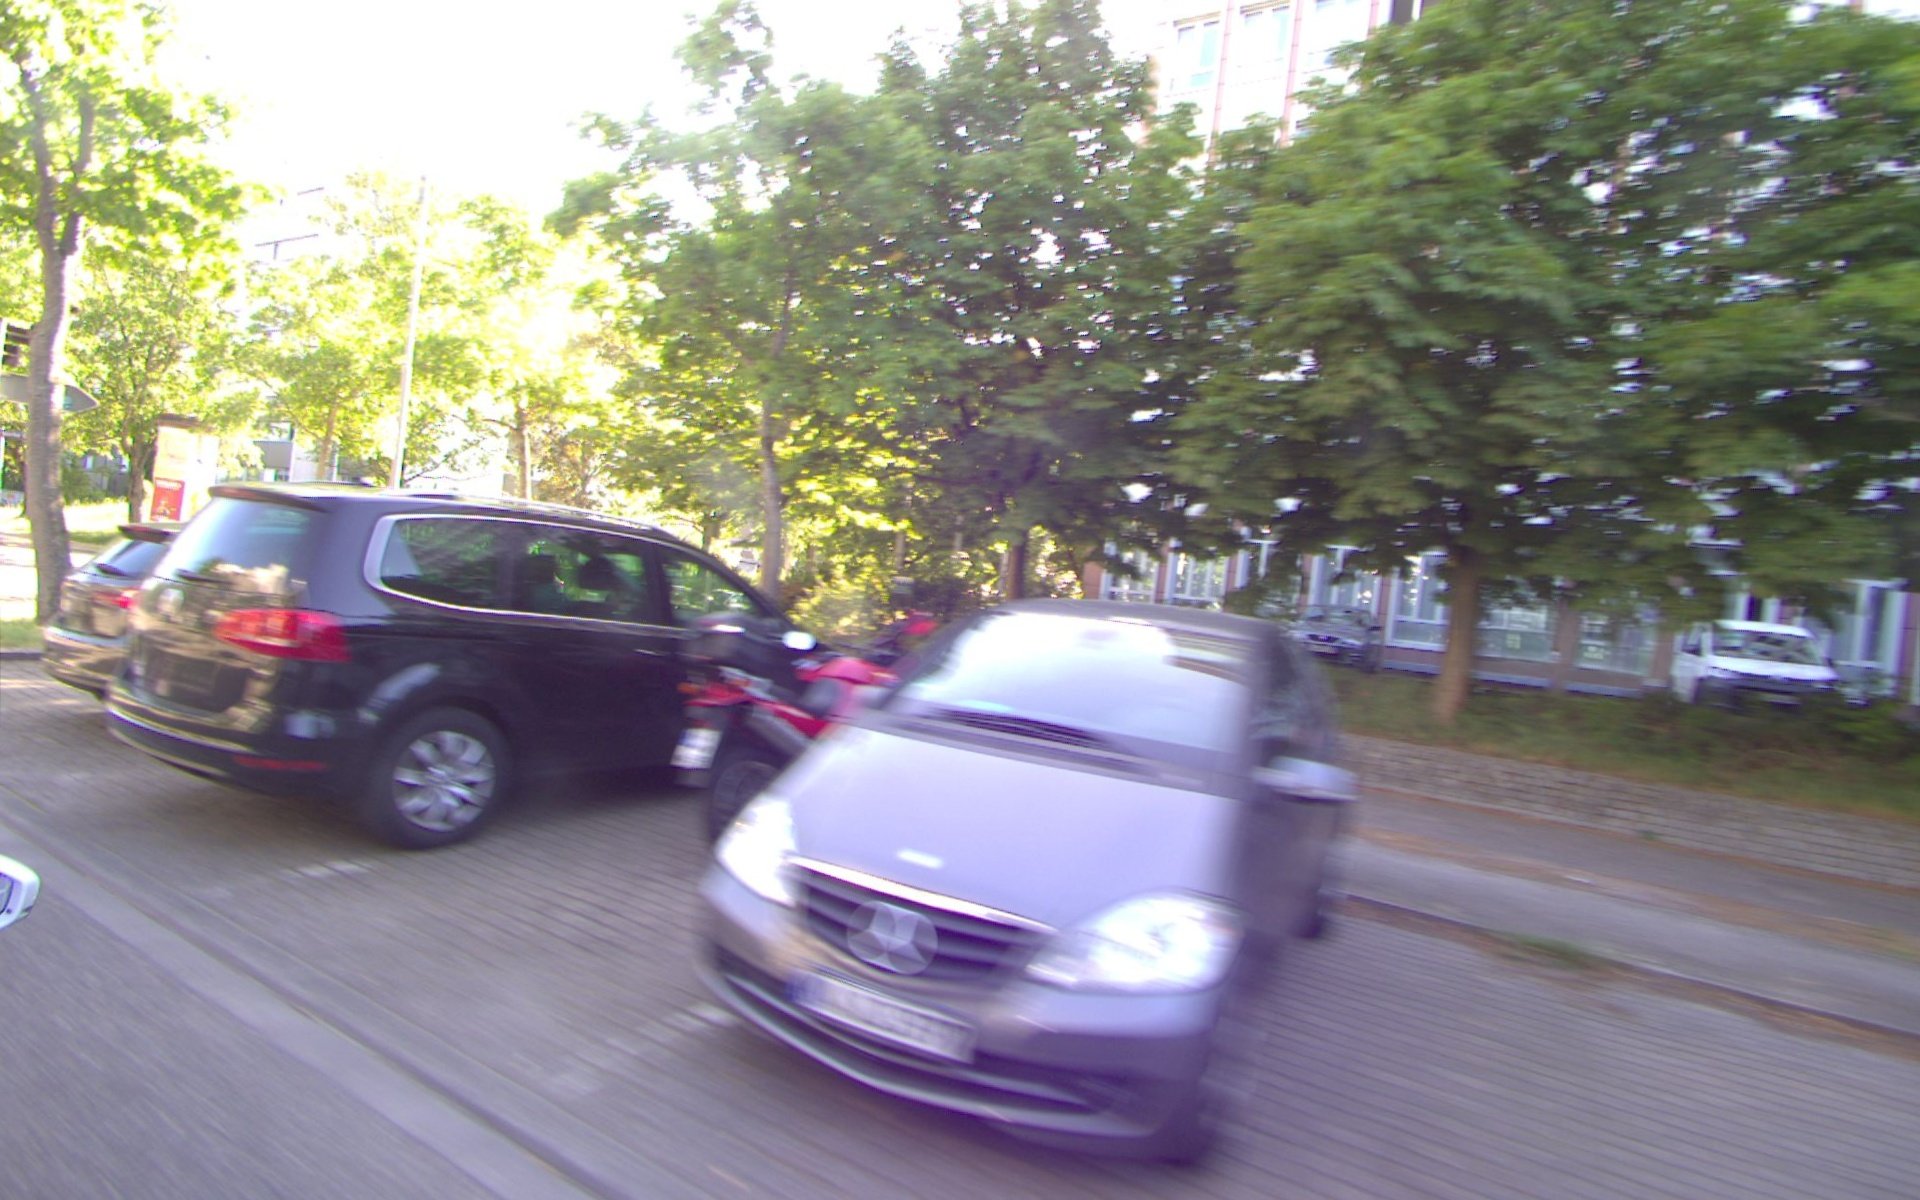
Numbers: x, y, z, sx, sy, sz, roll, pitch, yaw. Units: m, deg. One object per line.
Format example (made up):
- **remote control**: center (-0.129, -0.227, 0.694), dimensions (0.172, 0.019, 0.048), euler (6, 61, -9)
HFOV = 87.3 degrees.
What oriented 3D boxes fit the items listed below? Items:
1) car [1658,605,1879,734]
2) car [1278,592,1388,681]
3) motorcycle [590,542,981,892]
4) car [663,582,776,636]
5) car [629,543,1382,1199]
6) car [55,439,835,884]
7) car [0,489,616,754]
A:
- **car**: center (13.598, 1.204, 17.261), dimensions (1.843, 1.706, 4.728), euler (7, -1, 27)
- **car**: center (8.022, 0.837, 21.420), dimensions (1.693, 1.524, 4.236), euler (7, -1, 25)
- **motorcycle**: center (-0.871, 0.608, 5.868), dimensions (0.754, 1.600, 2.310), euler (7, 1, 32)
- **car**: center (-9.781, 0.412, 41.291), dimensions (1.804, 1.637, 4.454), euler (7, -2, 30)
- **car**: center (0.693, 0.803, 4.453), dimensions (1.777, 1.584, 3.878), euler (7, 0, 26)
- **car**: center (-2.667, 0.291, 5.998), dimensions (1.696, 1.773, 3.674), euler (7, 0, 33)
- **car**: center (-4.862, 0.140, 8.050), dimensions (1.564, 1.466, 3.838), euler (9, 3, 28)
